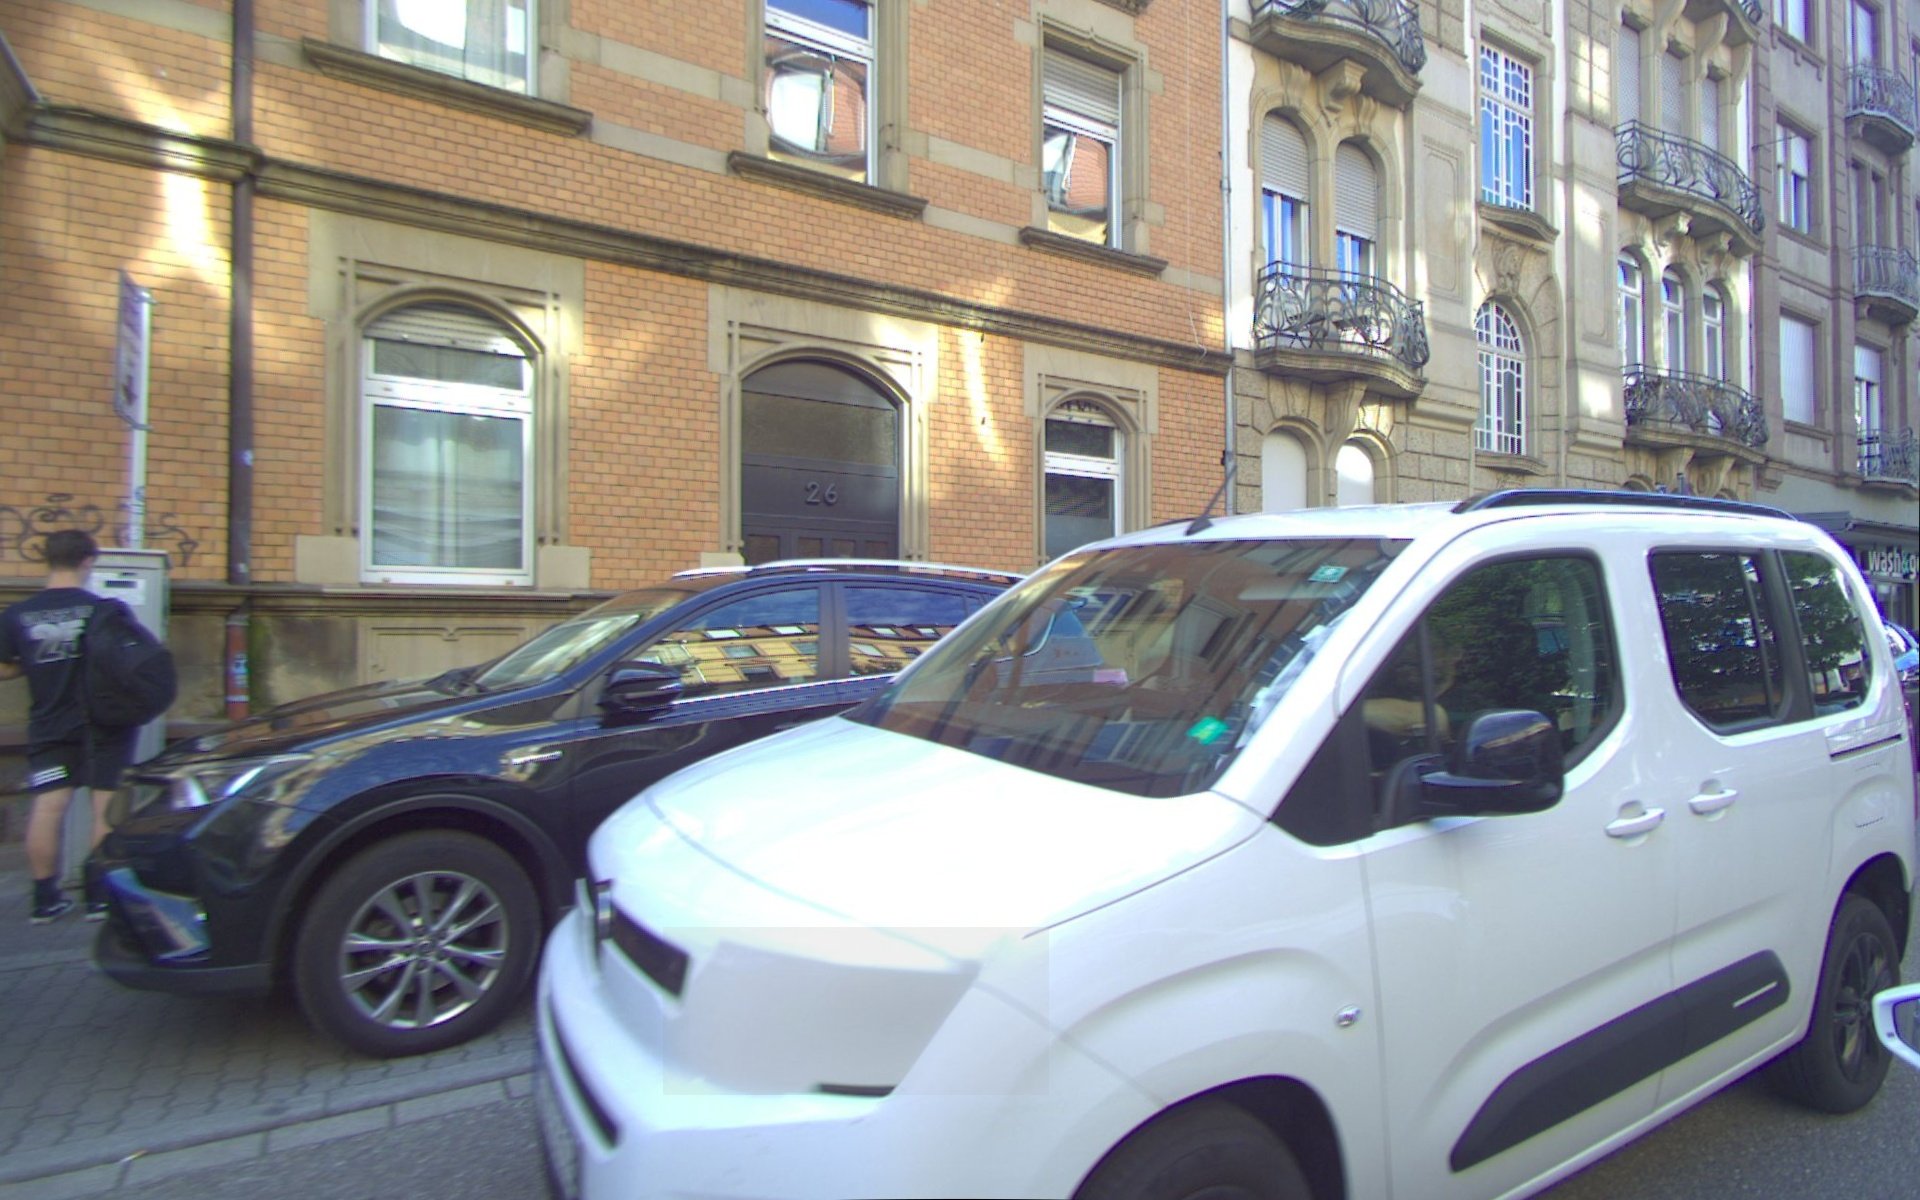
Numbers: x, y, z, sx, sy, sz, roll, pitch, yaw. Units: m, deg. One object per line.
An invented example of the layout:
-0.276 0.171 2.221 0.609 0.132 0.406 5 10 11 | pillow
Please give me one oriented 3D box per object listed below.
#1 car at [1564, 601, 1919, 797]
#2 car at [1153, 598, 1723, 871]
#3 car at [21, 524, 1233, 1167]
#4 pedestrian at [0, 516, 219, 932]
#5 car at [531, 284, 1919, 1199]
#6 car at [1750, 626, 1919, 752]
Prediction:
8.509 0.915 10.469 4.792 1.650 1.782 2 -2 -31 | car
3.801 0.854 7.808 4.378 1.565 1.983 2 -2 -32 | car
-1.023 0.673 4.828 4.845 1.703 1.861 0 -1 -35 | car
-4.198 0.550 4.857 0.852 1.832 0.753 1 0 -27 | pedestrian
1.174 0.614 3.100 4.387 1.852 1.908 1 -1 -31 | car
12.489 1.079 13.208 4.197 1.439 1.983 1 -2 -32 | car
